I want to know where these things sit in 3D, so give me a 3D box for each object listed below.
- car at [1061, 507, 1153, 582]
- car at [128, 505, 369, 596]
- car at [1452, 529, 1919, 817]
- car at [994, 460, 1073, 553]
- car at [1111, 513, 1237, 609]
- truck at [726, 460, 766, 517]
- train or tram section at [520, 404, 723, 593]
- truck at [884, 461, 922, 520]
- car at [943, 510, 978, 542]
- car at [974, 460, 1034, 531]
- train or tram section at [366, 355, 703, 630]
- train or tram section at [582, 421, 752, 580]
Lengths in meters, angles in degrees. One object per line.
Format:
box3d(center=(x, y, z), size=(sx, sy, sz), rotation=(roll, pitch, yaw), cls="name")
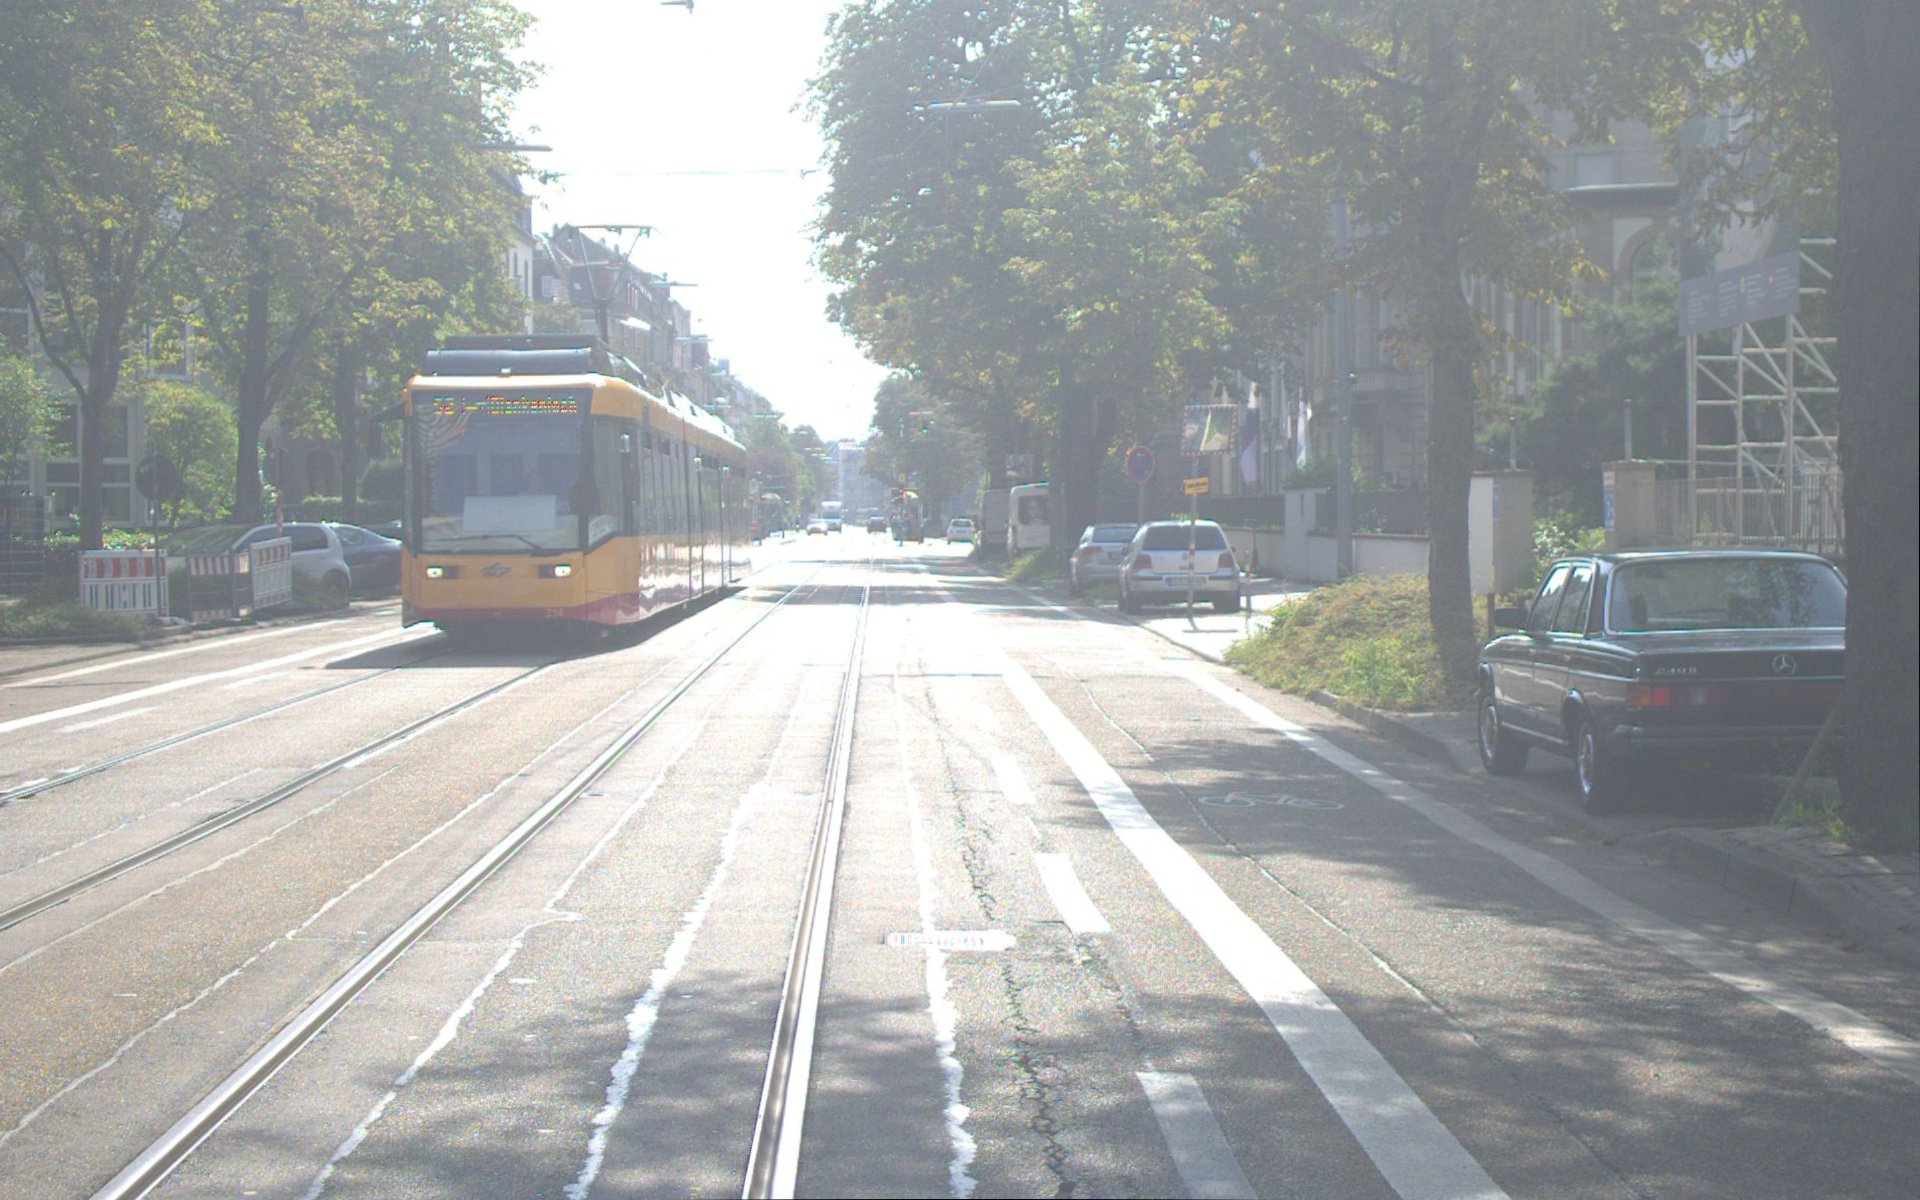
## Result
box3d(center=(2.833, -1.089, 66.719), size=(1.595, 1.413, 3.634), rotation=(0, 2, 0), cls="car")
box3d(center=(-11.686, -0.843, 56.635), size=(1.569, 1.438, 3.755), rotation=(1, 2, 39), cls="car")
box3d(center=(4.104, 0.321, 19.757), size=(1.753, 1.373, 4.719), rotation=(-2, 2, -1), cls="car")
box3d(center=(1.997, -2.592, 94.886), size=(2.004, 2.482, 4.477), rotation=(1, 2, 0), cls="car")
box3d(center=(3.257, -0.622, 52.891), size=(1.689, 1.413, 3.634), rotation=(0, 2, 0), cls="car")
box3d(center=(-11.401, -5.935, 183.167), size=(1.993, 2.965, 4.571), rotation=(0, 1, -2), cls="truck")
box3d(center=(-5.314, -1.604, 54.962), size=(2.728, 2.839, 6.544), rotation=(0, 1, -1), cls="train or tram section")
box3d(center=(-3.056, -5.819, 183.464), size=(1.860, 3.120, 4.353), rotation=(0, 1, -3), cls="truck")
box3d(center=(0.011, -4.301, 198.499), size=(1.993, 1.831, 4.000), rotation=(0, 2, 0), cls="car")
box3d(center=(1.540, -3.676, 121.675), size=(2.004, 2.466, 4.477), rotation=(0, 1, 0), cls="car")
box3d(center=(-5.060, -1.325, 43.942), size=(2.729, 2.884, 15.457), rotation=(0, 1, -1), cls="train or tram section")
box3d(center=(-5.597, -1.920, 67.192), size=(2.680, 2.852, 10.545), rotation=(0, 1, -1), cls="train or tram section")
